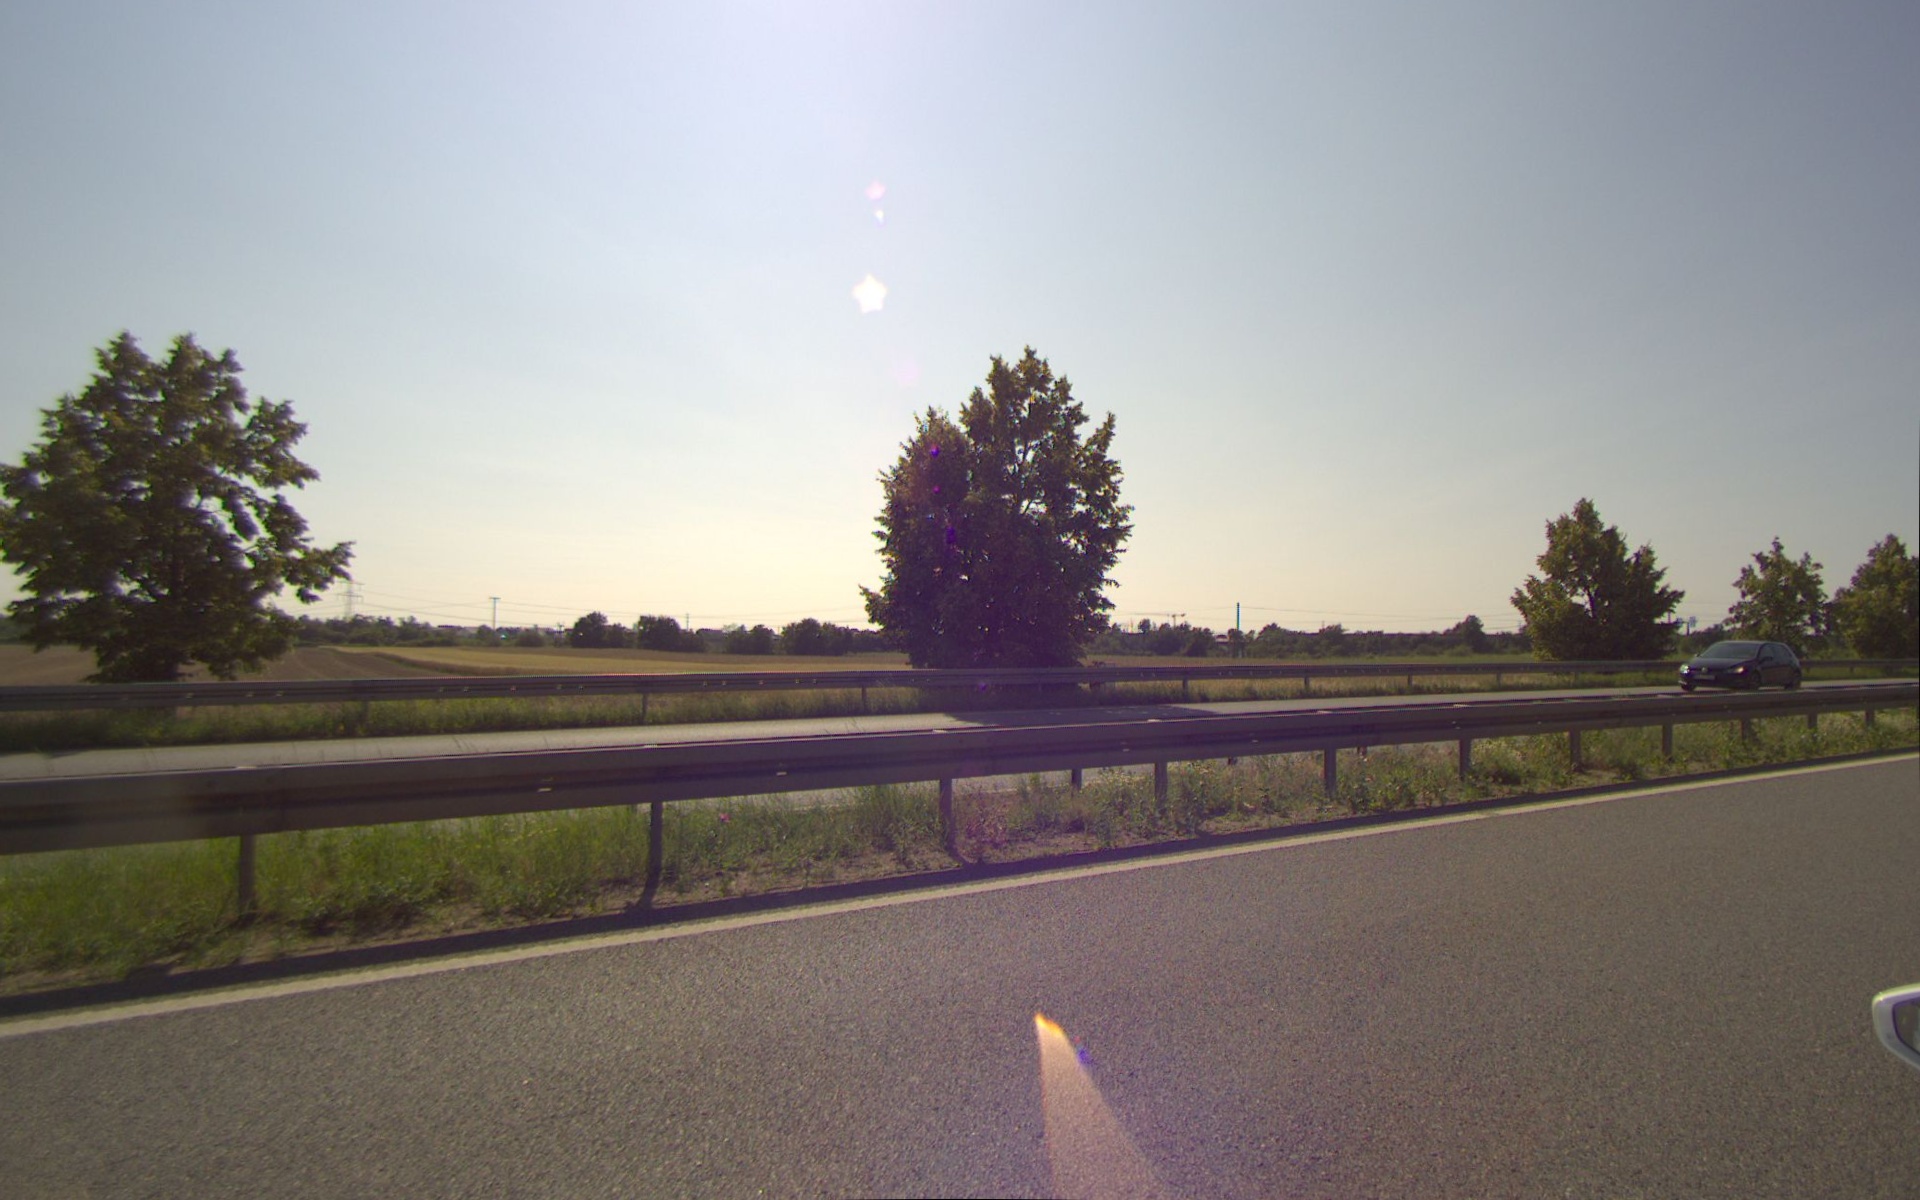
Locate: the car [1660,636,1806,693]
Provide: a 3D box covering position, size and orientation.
[{"bbox_3d":[22.296,1.800,28.928,4.406,1.492,1.830,1,-1,-30],"label":"car"}]
